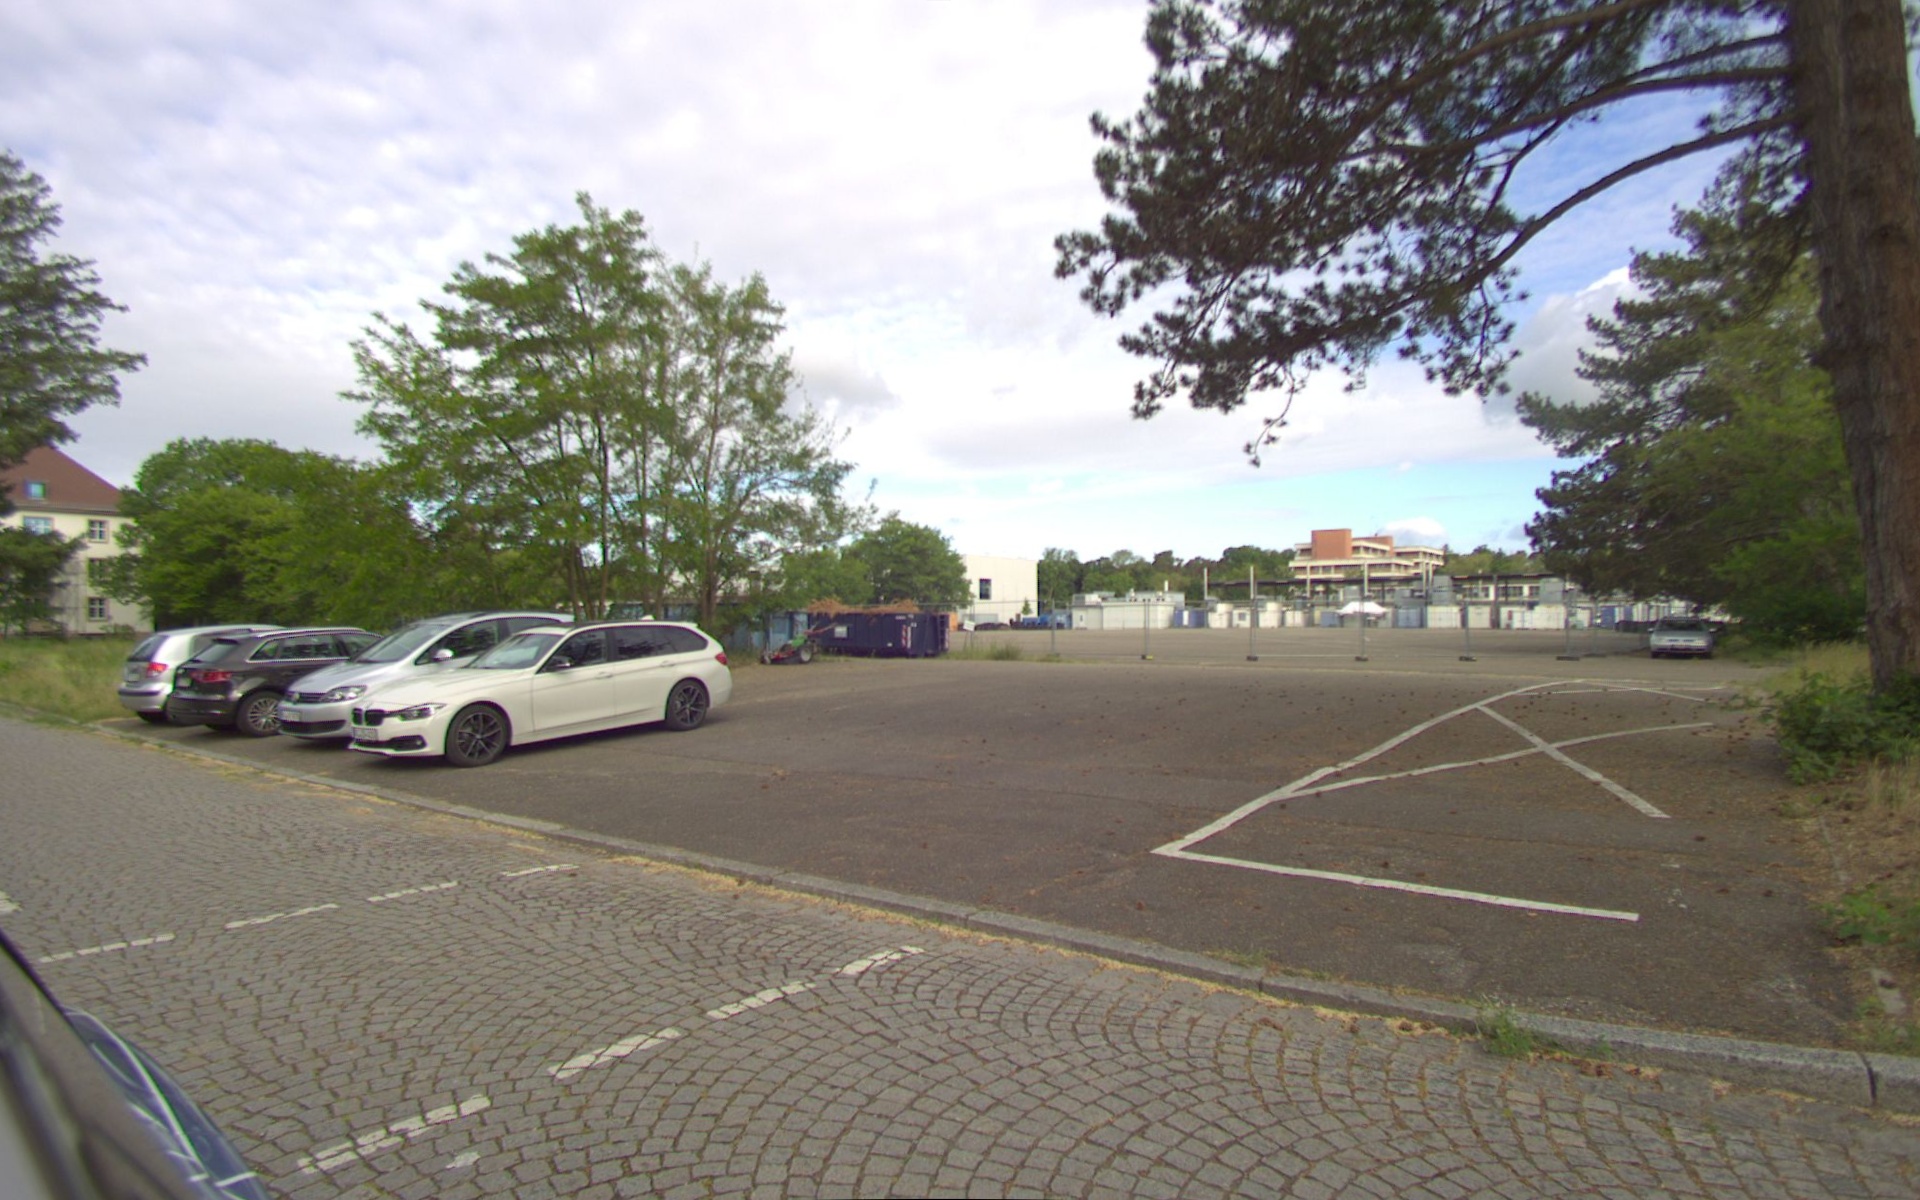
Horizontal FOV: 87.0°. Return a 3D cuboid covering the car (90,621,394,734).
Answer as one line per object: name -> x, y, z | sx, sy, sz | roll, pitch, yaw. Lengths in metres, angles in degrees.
car -> -11.626, 1.165, 16.606 | 1.803, 1.463, 3.648 | -2, 1, 33

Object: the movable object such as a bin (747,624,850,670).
movable object such as a bin -> -4.409, 1.265, 27.739 | 1.500, 1.170, 2.365 | -2, -2, 43

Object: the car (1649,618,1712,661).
car -> 25.172, 1.340, 35.341 | 1.694, 1.403, 3.951 | -1, -2, 36

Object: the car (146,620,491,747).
car -> -9.365, 1.113, 15.051 | 1.748, 1.438, 3.951 | -1, 1, 37

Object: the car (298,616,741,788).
car -> -4.975, 1.031, 12.133 | 1.797, 1.454, 4.609 | -2, 1, 34

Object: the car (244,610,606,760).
car -> -7.014, 1.002, 13.662 | 1.719, 1.559, 3.955 | -2, 1, 33
